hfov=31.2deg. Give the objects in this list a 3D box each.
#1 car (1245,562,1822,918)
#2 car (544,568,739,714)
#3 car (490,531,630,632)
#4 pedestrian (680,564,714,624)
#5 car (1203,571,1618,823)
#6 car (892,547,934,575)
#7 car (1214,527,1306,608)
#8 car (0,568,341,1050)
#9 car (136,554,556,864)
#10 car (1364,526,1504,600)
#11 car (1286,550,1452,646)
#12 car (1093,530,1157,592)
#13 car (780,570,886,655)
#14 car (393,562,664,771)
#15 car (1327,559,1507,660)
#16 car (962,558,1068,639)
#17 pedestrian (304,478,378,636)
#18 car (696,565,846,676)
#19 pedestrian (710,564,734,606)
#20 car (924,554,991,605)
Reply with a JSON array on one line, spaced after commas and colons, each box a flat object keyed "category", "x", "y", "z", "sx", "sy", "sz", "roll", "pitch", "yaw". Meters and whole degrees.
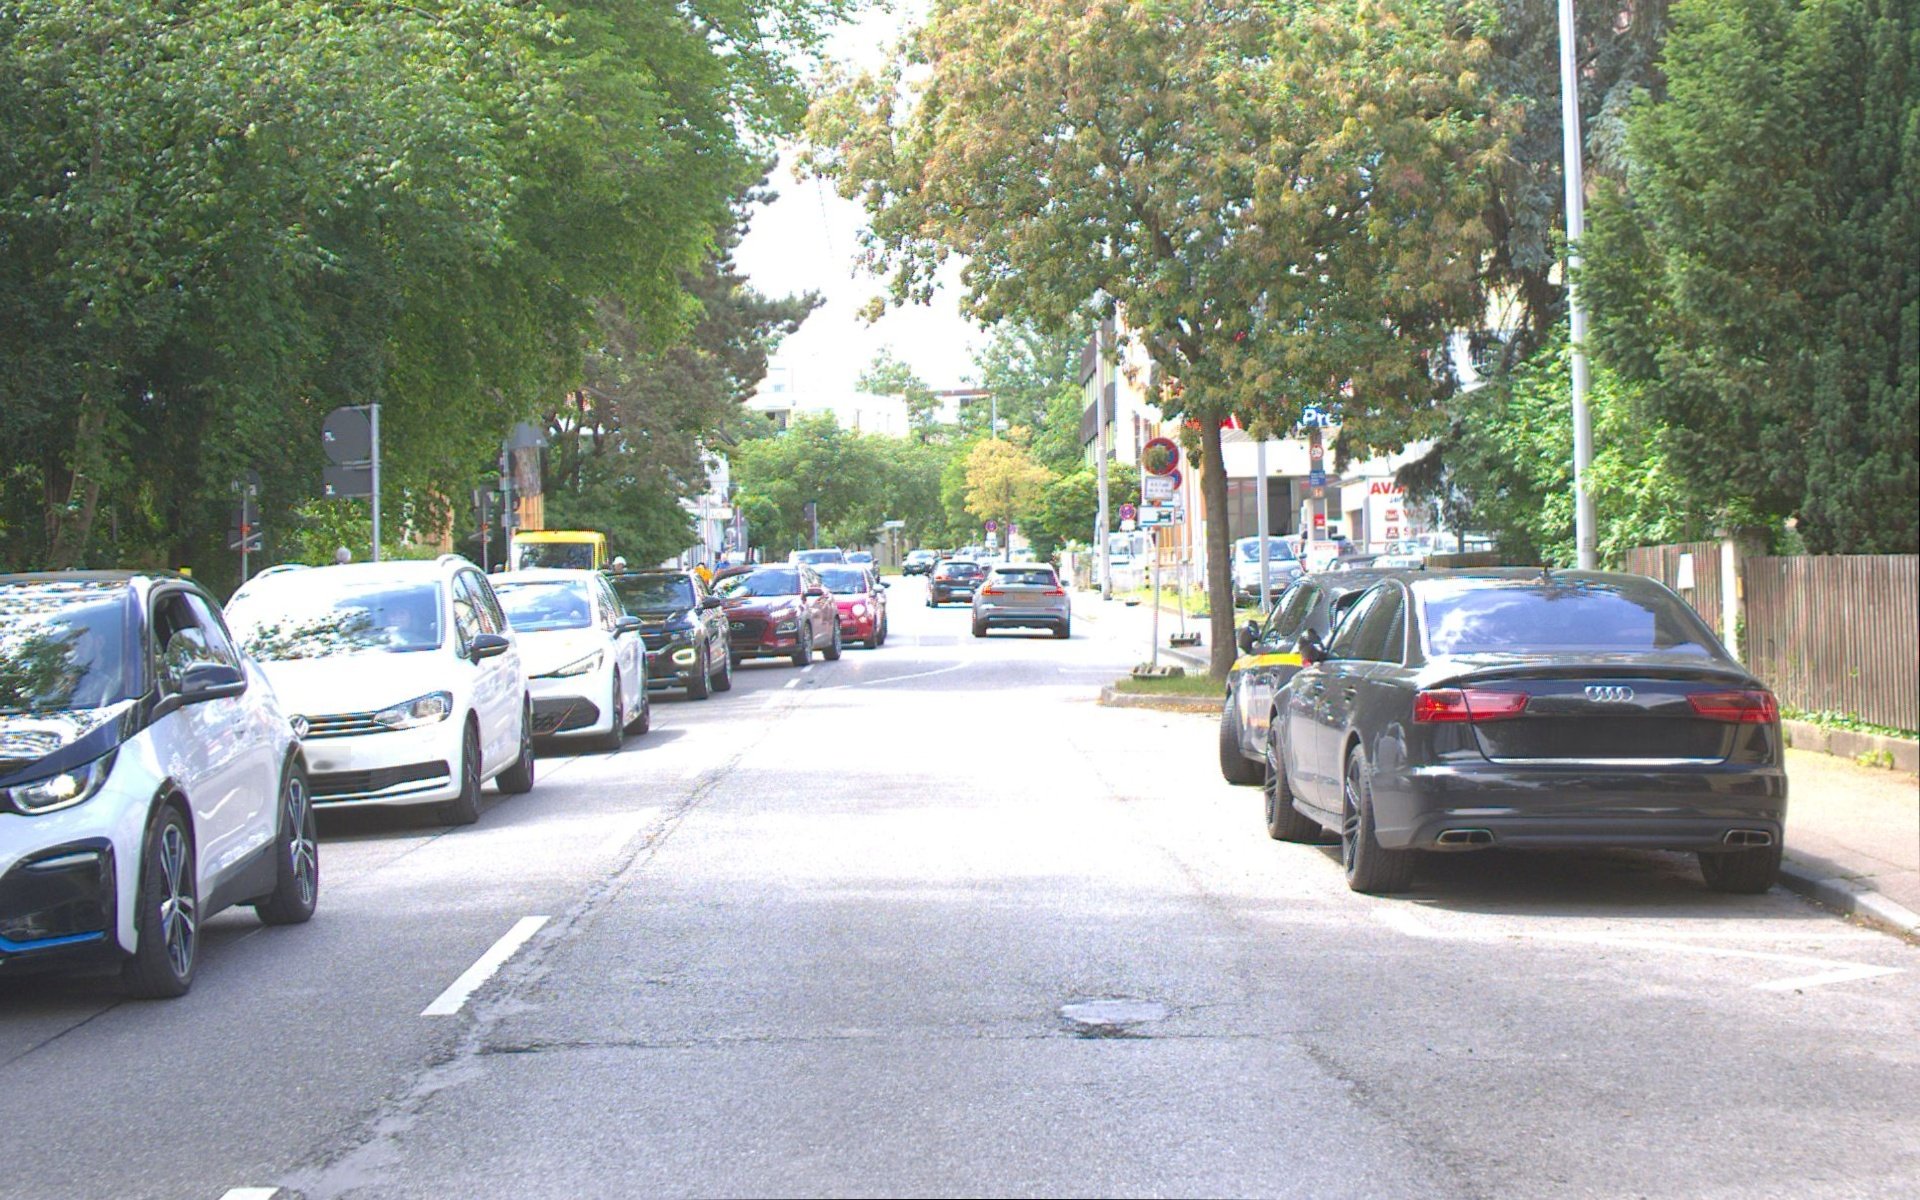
[{"category": "car", "x": 2.557, "y": 0.550, "z": 16.547, "sx": 1.801, "sy": 1.440, "sz": 4.887, "roll": 0, "pitch": 1, "yaw": -2}, {"category": "car", "x": -3.733, "y": 0.445, "z": 40.994, "sx": 1.789, "sy": 1.536, "sz": 4.263, "roll": -3, "pitch": 1, "yaw": 1}, {"category": "car", "x": -8.238, "y": -0.374, "z": 71.216, "sx": 2.146, "sy": 1.974, "sz": 4.930, "roll": -1, "pitch": 0, "yaw": 2}, {"category": "pedestrian", "x": -6.356, "y": -0.138, "z": 83.092, "sx": 0.704, "sy": 1.434, "sz": 0.714, "roll": -1, "pitch": 0, "yaw": -12}, {"category": "car", "x": 2.727, "y": 0.531, "z": 21.831, "sx": 1.824, "sy": 1.412, "sz": 4.510, "roll": 0, "pitch": 1, "yaw": -3}, {"category": "car", "x": -2.638, "y": -2.185, "z": 193.061, "sx": 2.111, "sy": 1.495, "sz": 4.267, "roll": -2, "pitch": 1, "yaw": 2}, {"category": "car", "x": 6.734, "y": -0.746, "z": 77.373, "sx": 1.784, "sy": 1.629, "sz": 3.692, "roll": -5, "pitch": 1, "yaw": 3}, {"category": "car", "x": -3.782, "y": 0.736, "z": 13.446, "sx": 1.928, "sy": 1.541, "sz": 4.087, "roll": -5, "pitch": 1, "yaw": -1}, {"category": "car", "x": -3.735, "y": 0.585, "z": 21.687, "sx": 1.786, "sy": 1.642, "sz": 4.491, "roll": -4, "pitch": 1, "yaw": 0}, {"category": "car", "x": 9.233, "y": -0.731, "z": 67.228, "sx": 1.841, "sy": 1.351, "sz": 4.069, "roll": -2, "pitch": 1, "yaw": -5}, {"category": "car", "x": 6.256, "y": -0.059, "z": 53.017, "sx": 1.722, "sy": 1.359, "sz": 4.485, "roll": -2, "pitch": 1, "yaw": -4}, {"category": "car", "x": 5.566, "y": -1.289, "z": 116.460, "sx": 1.993, "sy": 2.007, "sz": 4.000, "roll": -1, "pitch": 0, "yaw": 1}, {"category": "car", "x": -2.233, "y": 0.218, "z": 61.297, "sx": 1.691, "sy": 1.420, "sz": 3.437, "roll": -1, "pitch": 0, "yaw": 1}, {"category": "car", "x": -3.669, "y": 0.515, "z": 29.895, "sx": 1.785, "sy": 1.586, "sz": 4.154, "roll": -3, "pitch": 1, "yaw": 0}, {"category": "car", "x": 6.326, "y": 0.102, "z": 47.967, "sx": 1.724, "sy": 1.312, "sz": 4.267, "roll": -1, "pitch": 1, "yaw": -3}, {"category": "car", "x": 1.117, "y": -0.054, "z": 67.823, "sx": 1.976, "sy": 1.508, "sz": 4.267, "roll": 2, "pitch": 1, "yaw": 2}, {"category": "pedestrian", "x": -7.060, "y": -0.484, "z": 39.240, "sx": 0.714, "sy": 1.756, "sz": 1.122, "roll": -1, "pitch": 0, "yaw": -6}, {"category": "car", "x": -2.875, "y": 0.279, "z": 53.093, "sx": 1.762, "sy": 1.528, "sz": 4.096, "roll": -3, "pitch": 1, "yaw": 4}, {"category": "pedestrian", "x": -8.289, "y": -0.518, "z": 119.851, "sx": 0.704, "sy": 1.434, "sz": 0.713, "roll": -1, "pitch": 0, "yaw": 3}, {"category": "car", "x": -0.095, "y": -0.622, "z": 103.140, "sx": 1.816, "sy": 1.495, "sz": 4.267, "roll": 0, "pitch": 1, "yaw": -2}]
